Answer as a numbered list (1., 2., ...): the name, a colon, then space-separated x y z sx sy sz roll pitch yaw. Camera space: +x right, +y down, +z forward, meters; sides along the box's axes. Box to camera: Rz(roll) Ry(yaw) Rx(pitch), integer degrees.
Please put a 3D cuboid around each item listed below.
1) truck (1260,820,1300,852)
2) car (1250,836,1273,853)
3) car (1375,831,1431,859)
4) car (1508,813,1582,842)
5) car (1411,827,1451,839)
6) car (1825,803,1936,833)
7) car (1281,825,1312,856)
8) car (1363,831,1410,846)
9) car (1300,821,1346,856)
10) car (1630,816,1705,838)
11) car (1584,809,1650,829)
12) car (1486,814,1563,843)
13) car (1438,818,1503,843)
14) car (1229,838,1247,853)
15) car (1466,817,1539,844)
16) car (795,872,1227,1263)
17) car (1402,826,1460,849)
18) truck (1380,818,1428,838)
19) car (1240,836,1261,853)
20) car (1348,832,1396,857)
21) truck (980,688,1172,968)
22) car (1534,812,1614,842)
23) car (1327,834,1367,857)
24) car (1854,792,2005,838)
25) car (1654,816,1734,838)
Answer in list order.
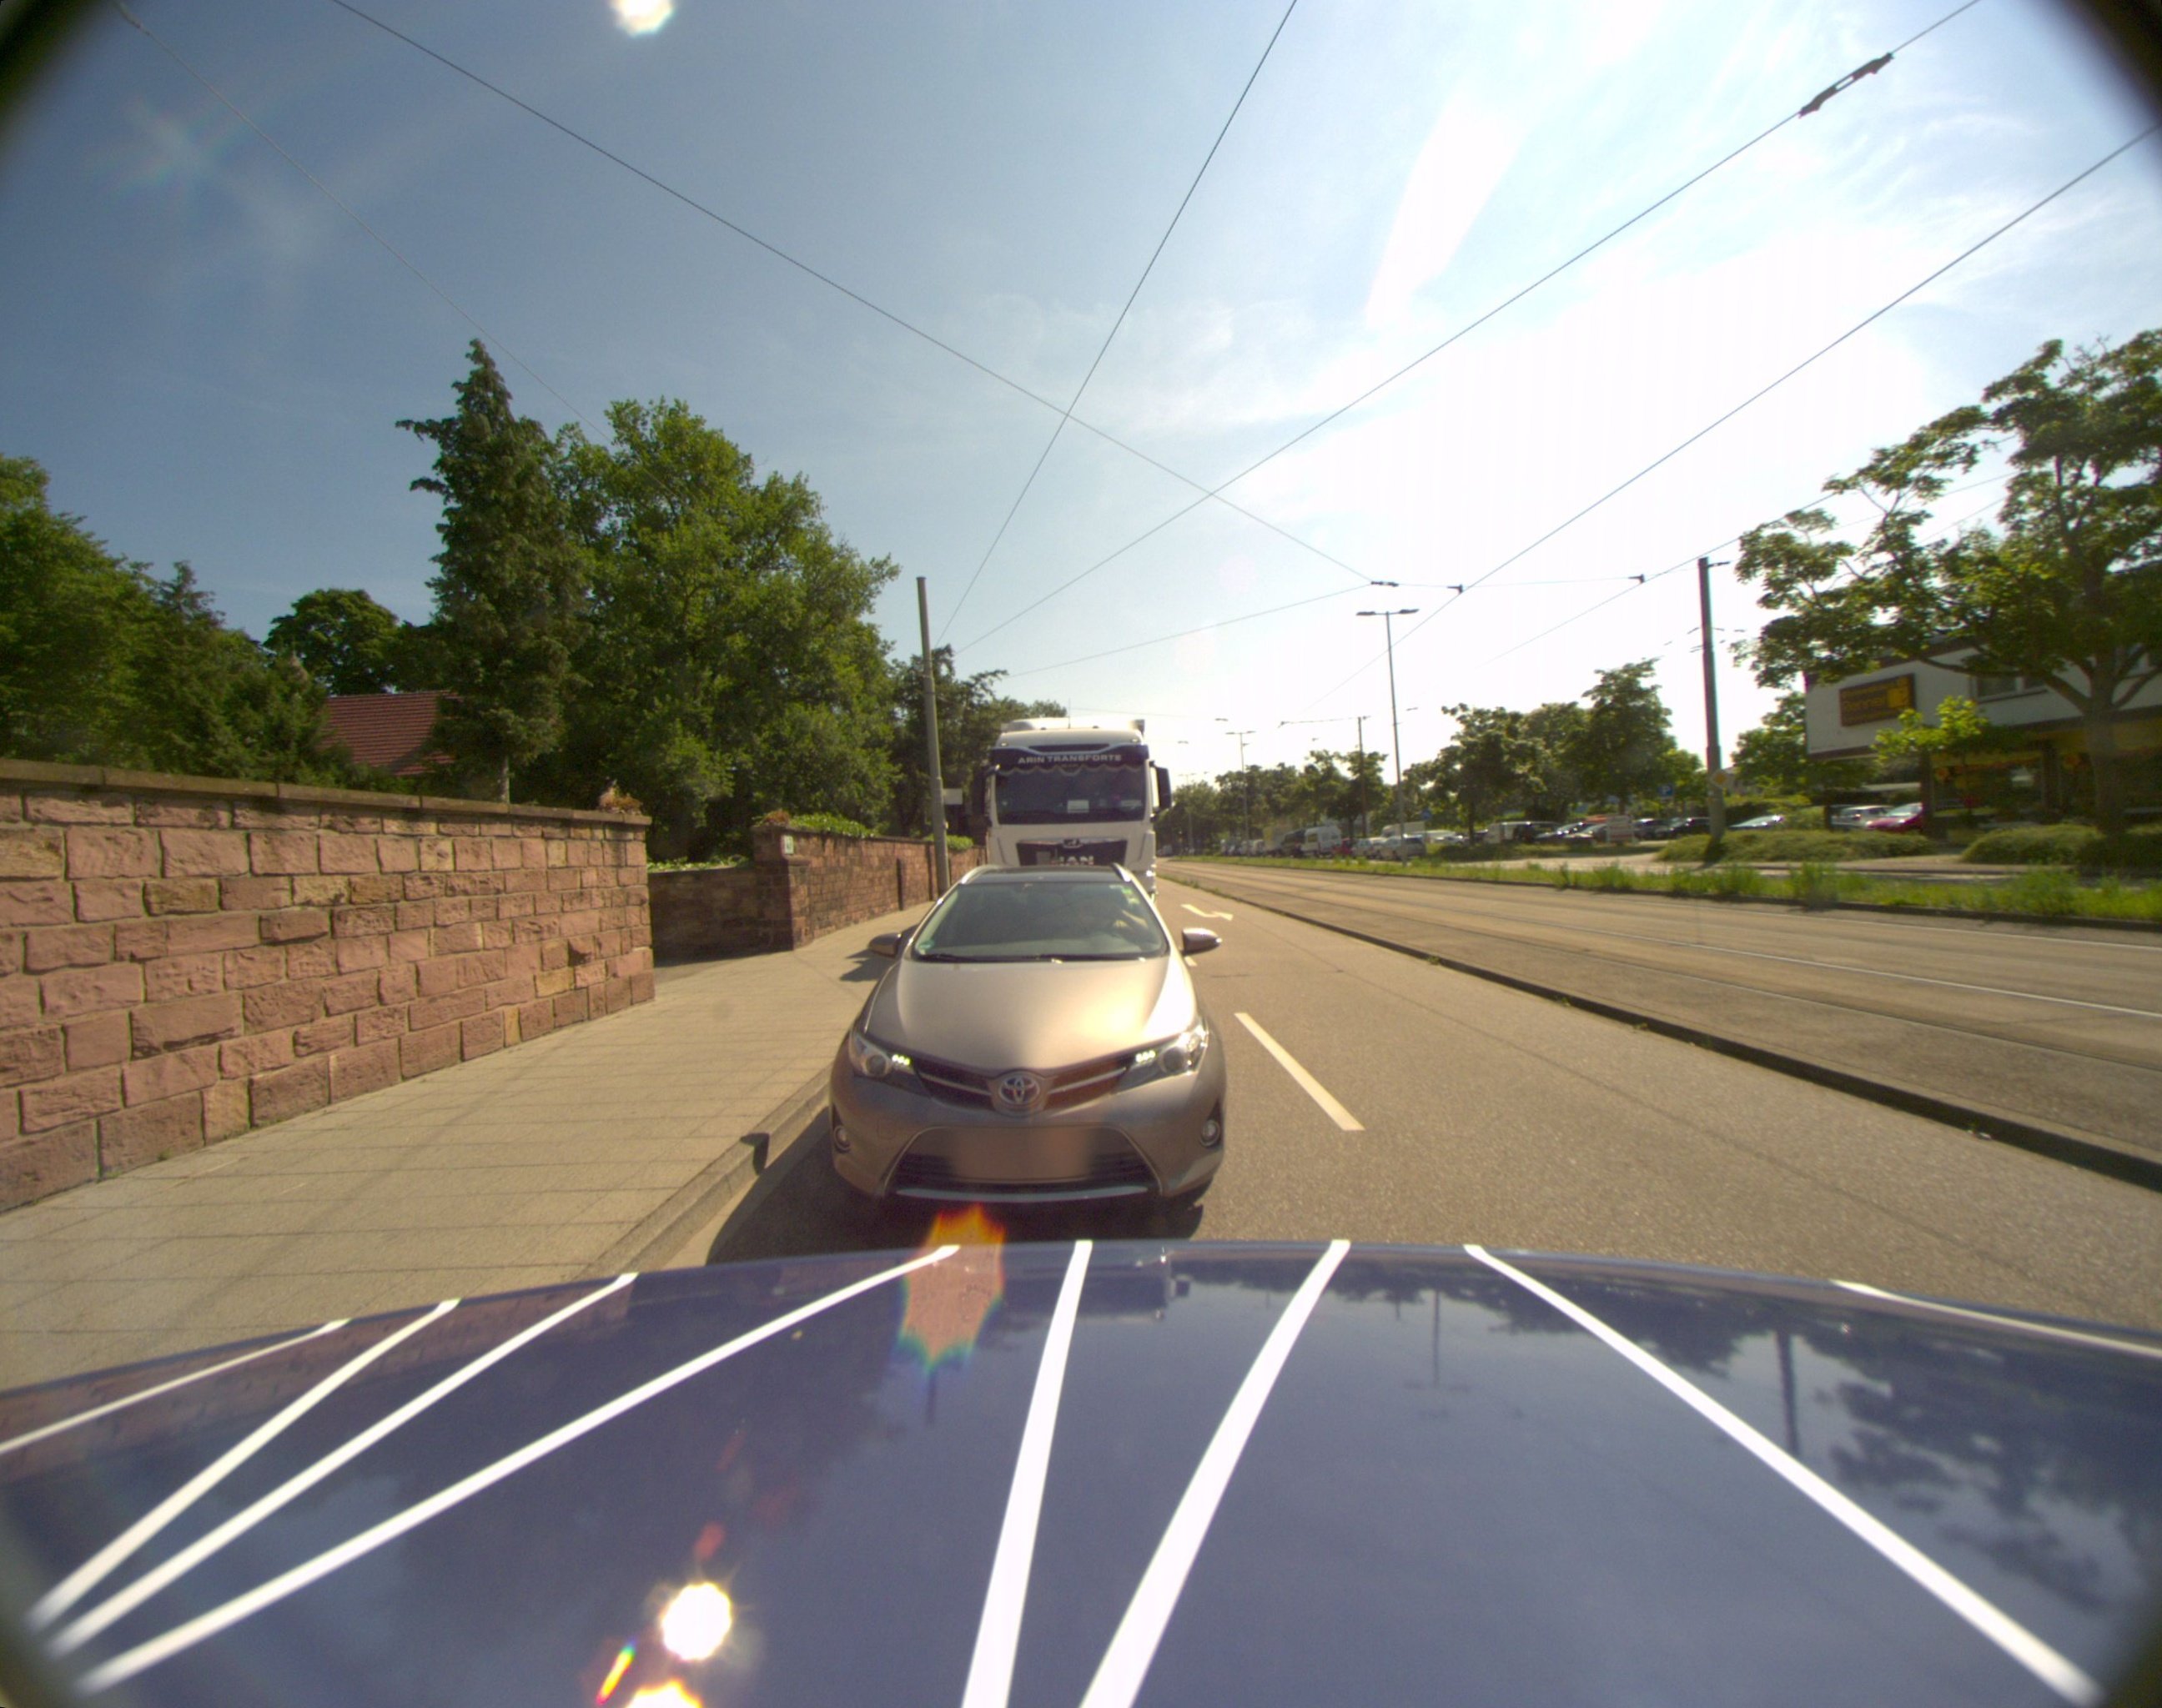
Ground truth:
1. truck: 20.564 -1.776 78.738 2.508 2.917 5.903 -6 0 2
2. car: 20.705 -1.054 87.374 1.502 1.793 4.633 -6 0 1
3. car: 20.321 -0.528 48.106 1.675 1.524 4.256 -6 0 1
4. car: 30.585 -1.717 50.148 3.810 1.625 1.676 -3 1 2
5. car: 43.743 -2.623 95.029 4.253 1.327 1.676 -3 0 1
6. car: 44.346 -1.992 42.191 4.252 1.327 1.676 -3 0 2
7. car: 19.856 -1.206 70.227 1.502 2.609 4.007 -6 0 1
8. car: 32.324 -1.593 80.388 4.253 1.327 1.676 -3 0 1
9. car: 20.287 -1.254 63.981 2.062 2.638 5.203 -6 0 1
10. car: 44.206 -2.029 57.369 4.252 1.327 1.676 -3 0 2
11. car: 44.062 -2.851 62.506 4.254 1.327 1.676 -3 0 -1
12. car: 30.700 -1.772 52.659 4.117 1.728 1.990 -3 1 -2
13. car: 31.239 -1.857 60.968 4.117 1.728 1.990 -3 1 -2
14. car: 20.631 -1.087 100.064 1.502 1.775 3.687 -6 0 0
15. car: 30.541 -1.684 55.130 4.117 1.728 1.990 -3 1 -2
16. car: -0.256 0.891 4.988 1.654 1.374 4.000 -2 0 1
17. car: 31.176 -1.401 67.871 2.594 1.800 5.741 -3 0 2
18. truck: 44.705 -3.609 105.215 5.652 2.367 1.990 -3 1 -2
19. car: 20.976 -1.144 94.211 1.502 1.835 4.059 -6 0 0
20. car: 20.453 -0.627 53.649 1.675 1.524 4.256 -6 0 1
21. truck: 0.022 -0.420 15.461 2.628 3.906 9.285 -2 1 1
22. car: 30.518 -1.646 47.106 3.810 1.625 1.676 -3 1 2
23. car: 20.483 -0.669 58.747 1.675 1.524 3.793 -6 0 1
24. car: 35.268 -1.584 31.673 4.252 1.595 1.676 -3 1 2
25. car: 44.069 -1.926 54.683 4.252 1.327 1.676 -3 0 2
